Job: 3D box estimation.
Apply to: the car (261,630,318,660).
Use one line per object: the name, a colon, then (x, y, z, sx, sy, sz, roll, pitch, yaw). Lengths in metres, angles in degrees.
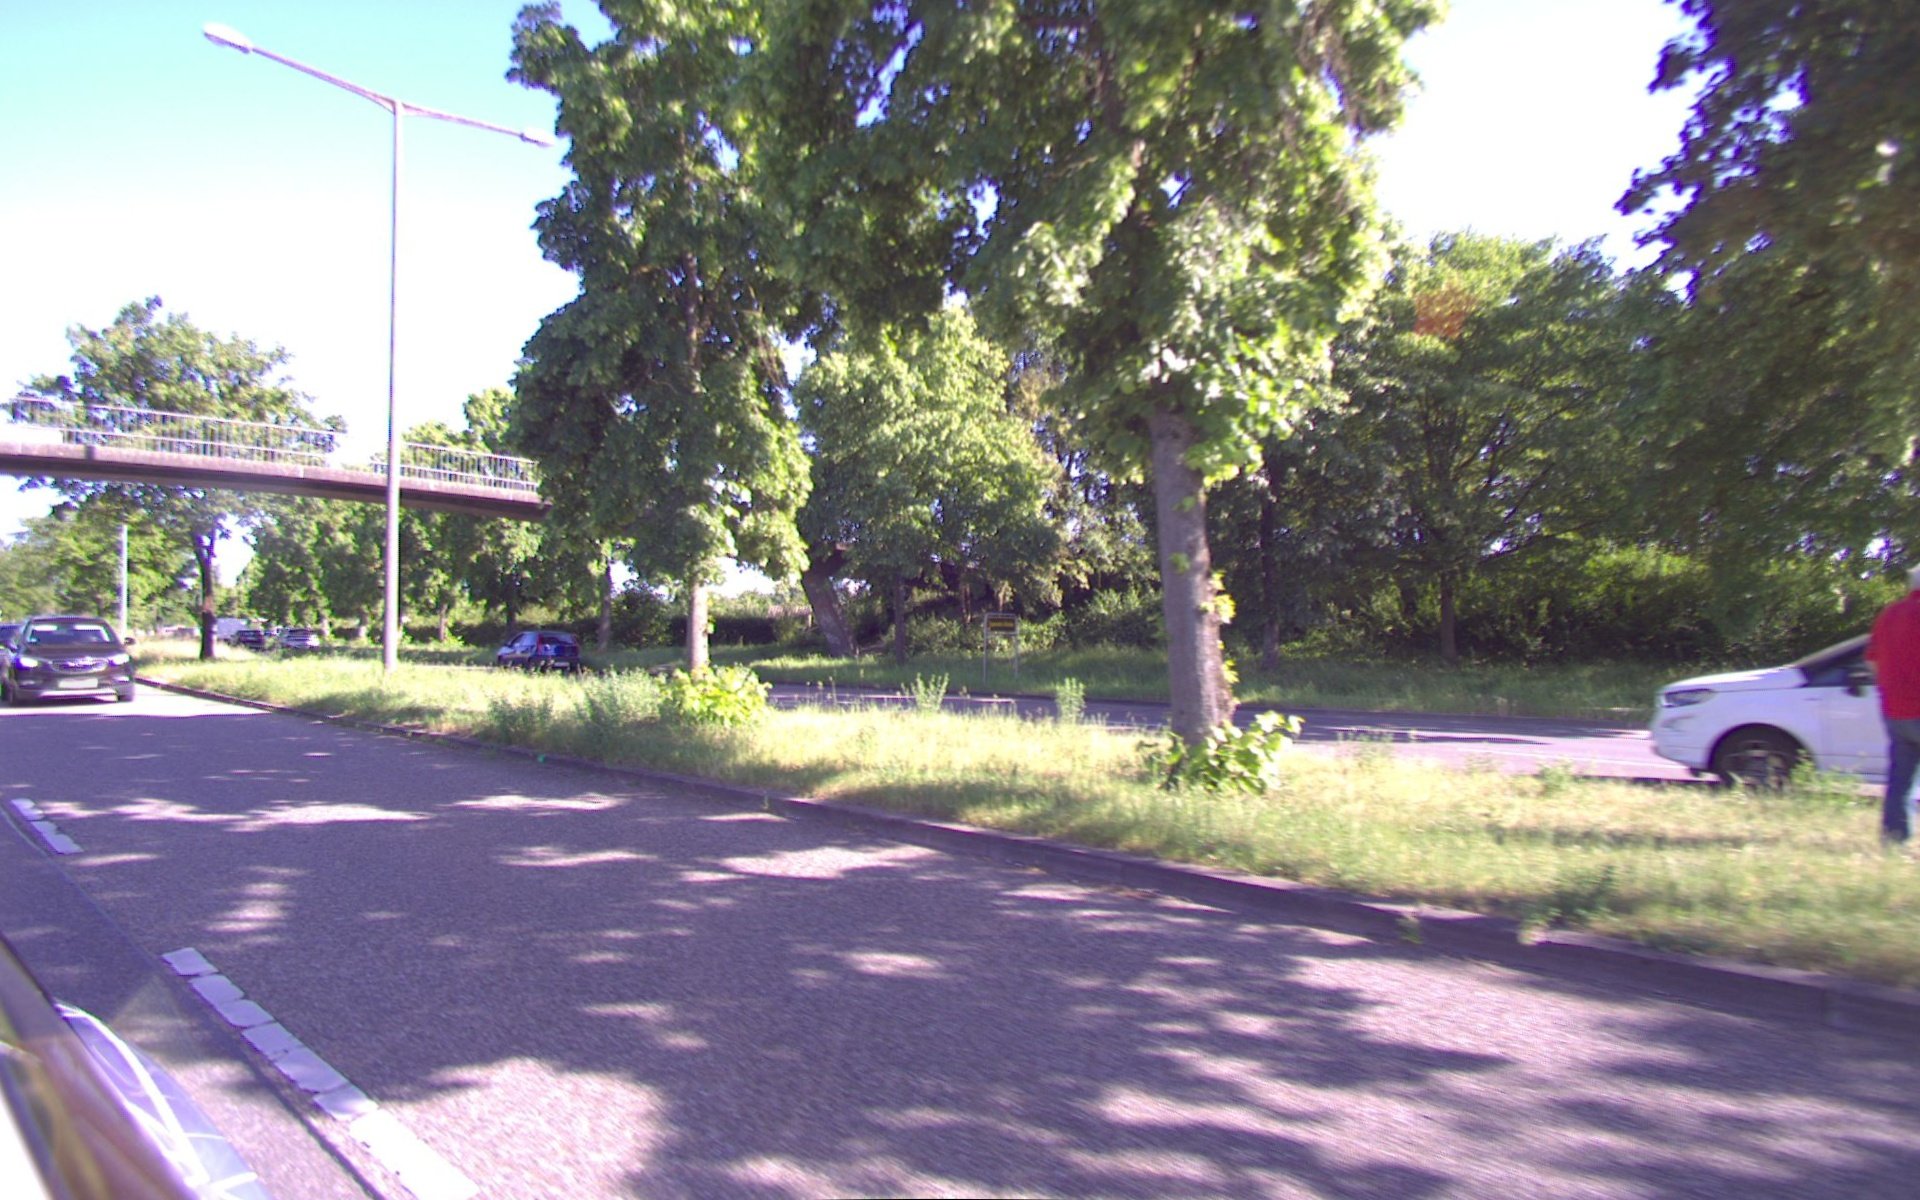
car: (-39.241, 2.627, 59.154, 4.902, 1.659, 1.712, -2, -4, 44)

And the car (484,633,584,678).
car: (-14.520, 1.869, 34.398, 4.256, 1.442, 1.523, -2, -4, 43)

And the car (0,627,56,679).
car: (-30.672, 1.707, 32.906, 1.796, 1.574, 4.653, 0, -2, -41)

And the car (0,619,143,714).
car: (-17.333, 1.191, 19.537, 4.514, 1.627, 1.787, -1, -2, 43)

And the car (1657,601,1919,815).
car: (8.259, 0.851, 8.166, 4.194, 1.644, 1.713, -1, -3, 40)

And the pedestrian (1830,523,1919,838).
pedestrian: (5.530, 0.436, 5.533, 0.621, 1.709, 0.946, 0, -2, -19)

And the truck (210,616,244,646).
truck: (-64.975, 2.767, 89.709, 2.144, 2.532, 5.753, 4, -4, -38)

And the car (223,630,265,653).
car: (-52.273, 3.003, 73.850, 1.729, 1.632, 4.581, 1, -3, -45)

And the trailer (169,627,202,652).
trailer: (-62.127, 3.152, 81.166, 1.544, 1.925, 4.284, 1, -3, -45)
